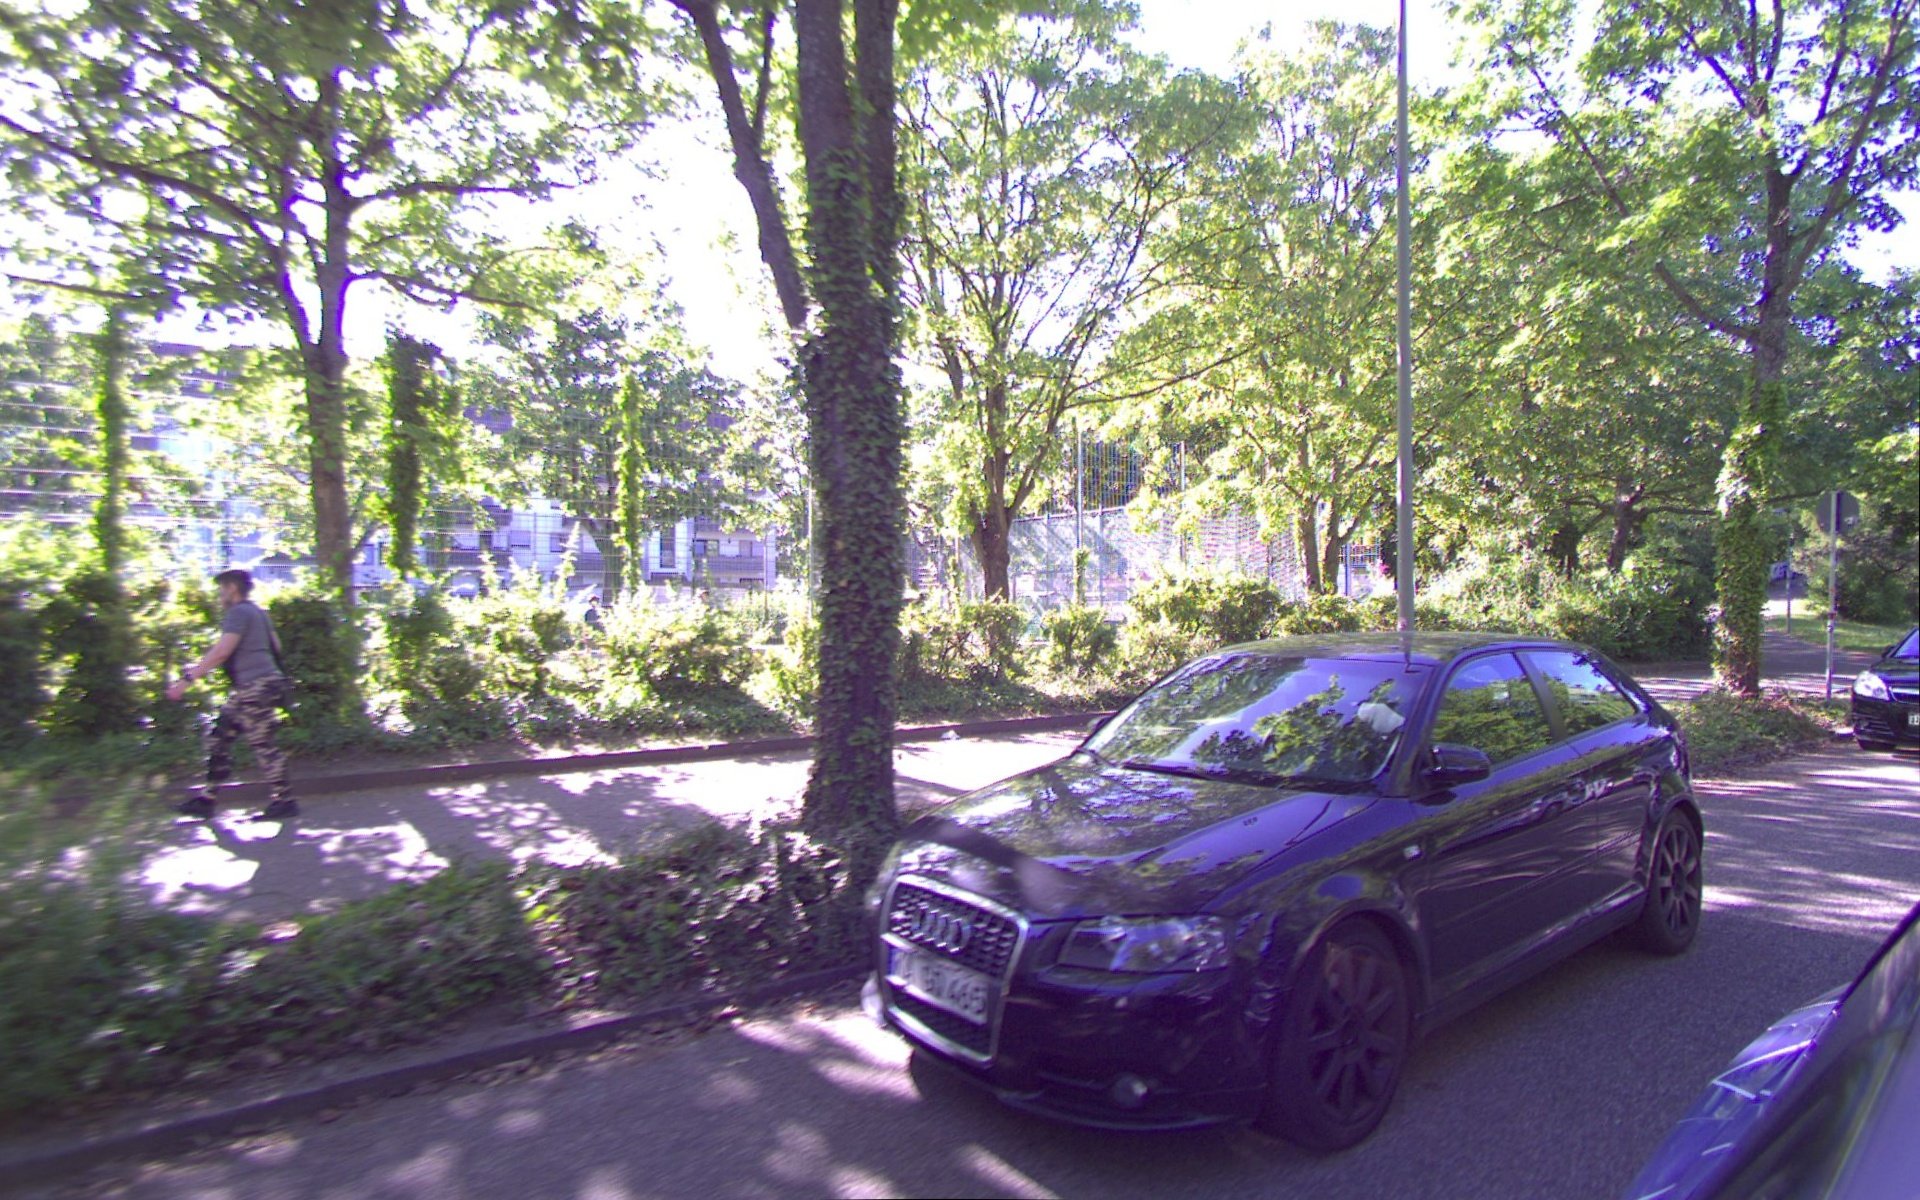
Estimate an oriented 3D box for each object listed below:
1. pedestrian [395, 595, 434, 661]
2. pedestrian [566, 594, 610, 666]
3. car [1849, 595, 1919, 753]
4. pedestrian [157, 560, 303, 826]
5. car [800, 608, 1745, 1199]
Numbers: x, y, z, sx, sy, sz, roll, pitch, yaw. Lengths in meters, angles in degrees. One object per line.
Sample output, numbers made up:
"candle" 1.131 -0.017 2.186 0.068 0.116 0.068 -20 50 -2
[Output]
"pedestrian" -12.231 0.622 22.703 0.498 1.439 0.630 -2 -2 10
"pedestrian" -6.583 0.530 17.917 0.535 1.256 0.561 -2 -2 5
"car" 11.002 0.675 10.372 3.951 1.499 1.755 -1 -1 -32
"pedestrian" -4.724 0.571 6.594 0.657 1.629 0.574 0 -1 -25
"car" 1.493 0.770 4.077 3.926 1.438 1.644 0 -2 -37
